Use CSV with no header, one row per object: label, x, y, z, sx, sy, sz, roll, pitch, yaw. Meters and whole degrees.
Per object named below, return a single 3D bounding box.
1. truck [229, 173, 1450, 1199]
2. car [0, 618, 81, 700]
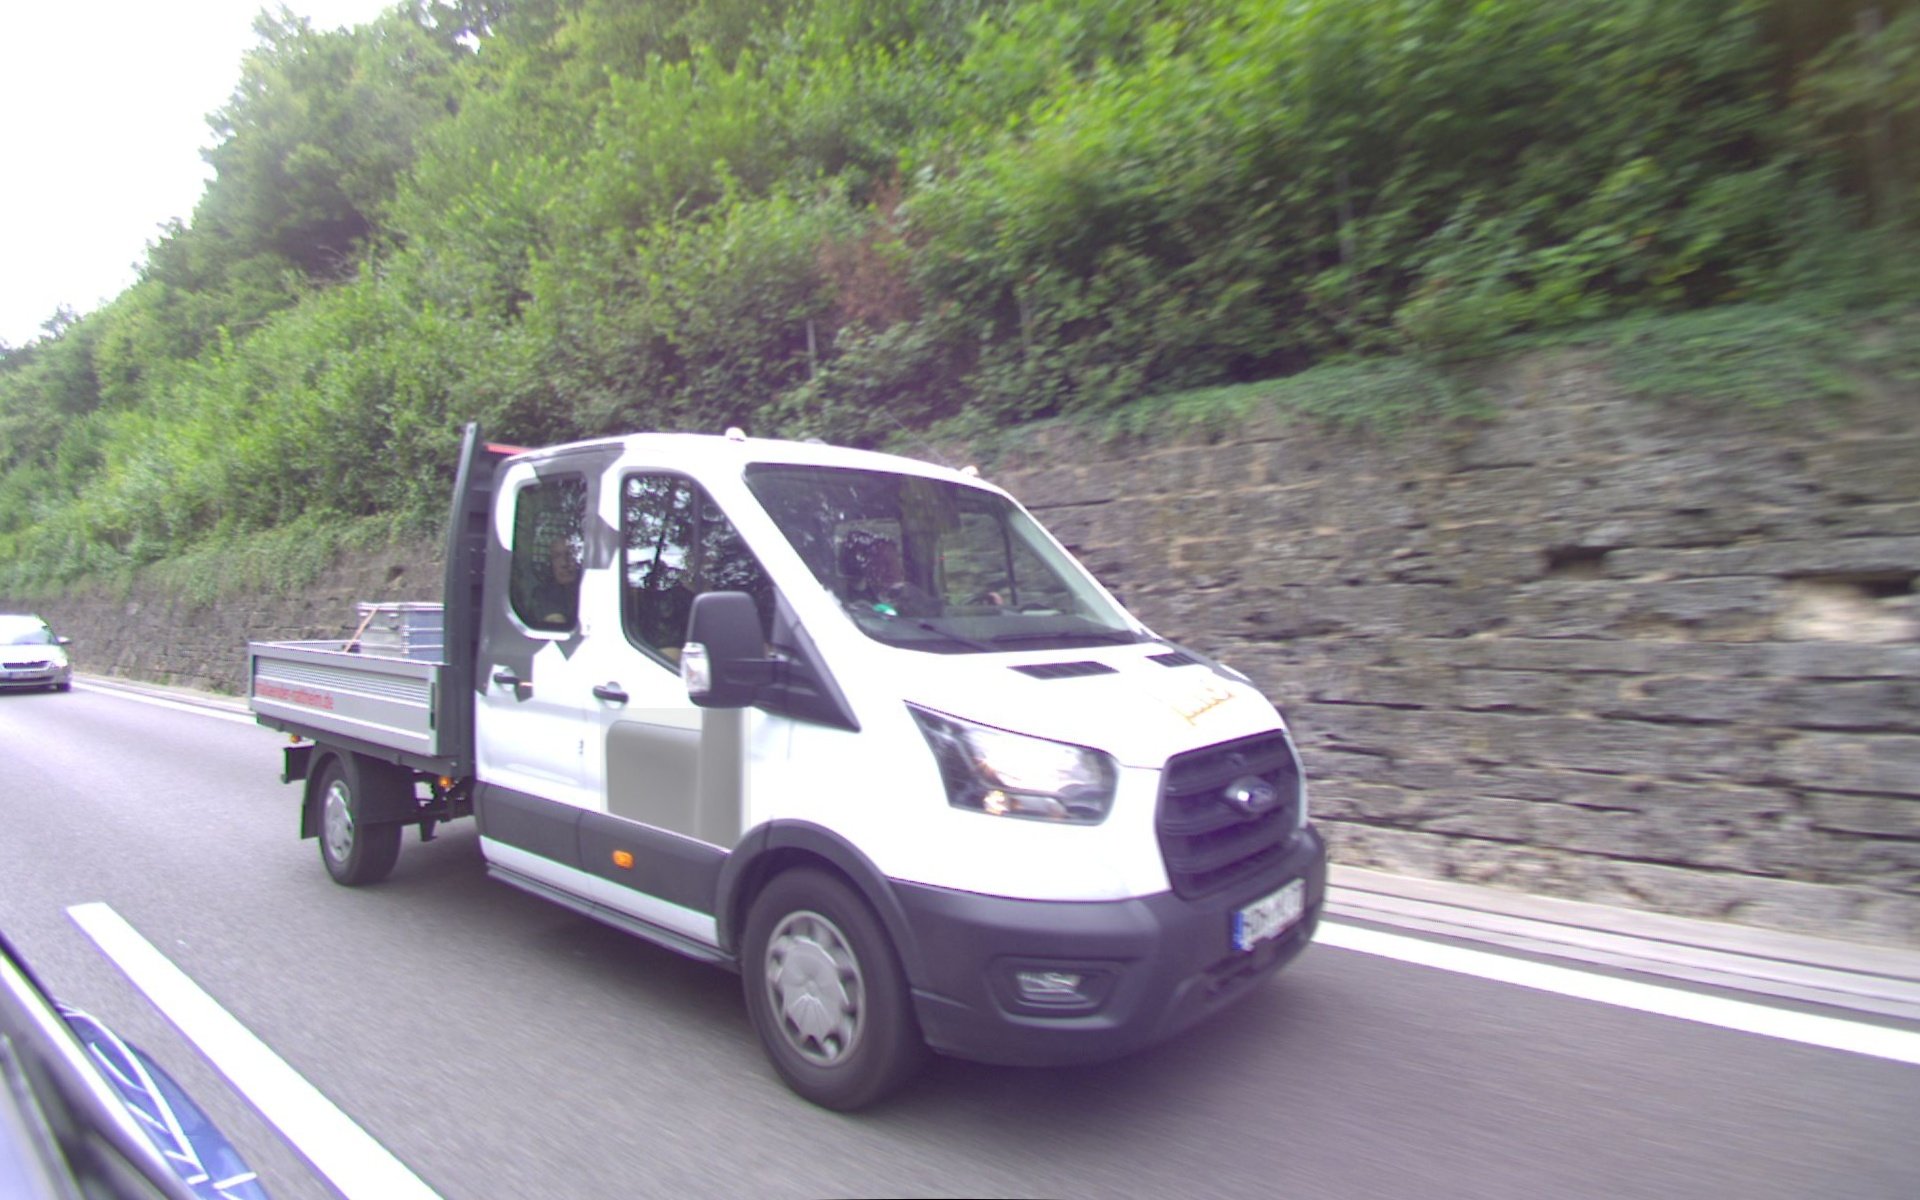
truck,-1.426,0.336,4.957,6.581,2.297,1.973,-2,-1,40
car,-20.443,1.215,21.737,4.599,1.589,1.689,-2,-1,40
